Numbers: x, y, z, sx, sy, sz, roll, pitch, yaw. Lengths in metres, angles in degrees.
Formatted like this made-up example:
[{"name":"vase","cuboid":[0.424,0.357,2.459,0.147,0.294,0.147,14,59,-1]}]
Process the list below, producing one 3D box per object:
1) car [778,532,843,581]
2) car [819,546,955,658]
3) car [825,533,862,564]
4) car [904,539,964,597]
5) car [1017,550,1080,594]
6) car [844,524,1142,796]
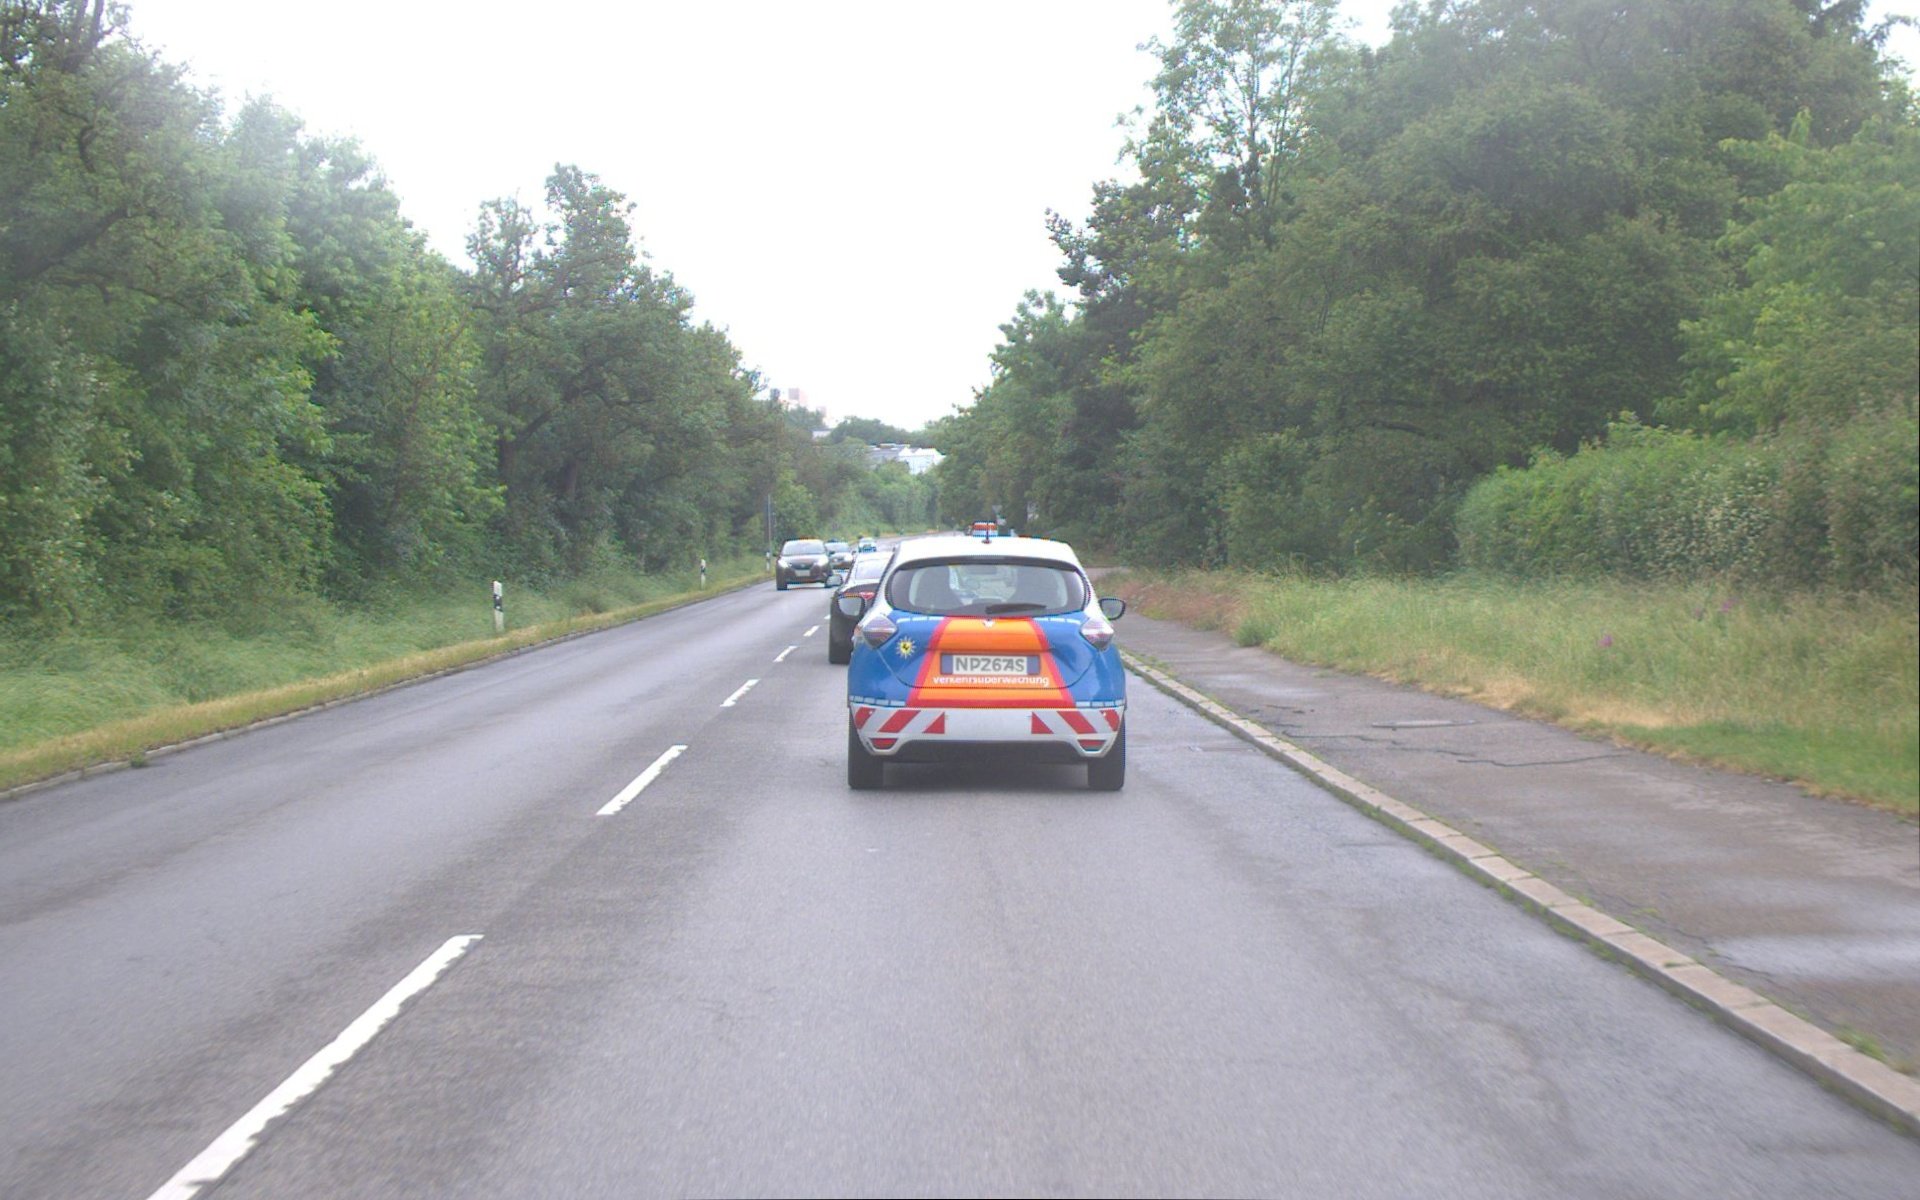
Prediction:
[{"name":"car","cuboid":[-4.948,-1.469,114.396,1.905,1.551,4.516,-1,1,0]},{"name":"car","cuboid":[-0.875,-0.007,42.803,1.598,1.282,3.476,-1,1,0]},{"name":"car","cuboid":[-5.690,-2.520,168.252,1.710,1.394,4.150,-3,1,-1]},{"name":"car","cuboid":[-0.810,-0.998,106.602,1.789,1.714,4.000,-1,1,0]},{"name":"car","cuboid":[2.945,-0.948,114.922,1.993,1.371,4.000,-1,1,0]},{"name":"car","cuboid":[0.165,0.317,22.246,1.752,1.550,3.793,0,2,-1]}]
